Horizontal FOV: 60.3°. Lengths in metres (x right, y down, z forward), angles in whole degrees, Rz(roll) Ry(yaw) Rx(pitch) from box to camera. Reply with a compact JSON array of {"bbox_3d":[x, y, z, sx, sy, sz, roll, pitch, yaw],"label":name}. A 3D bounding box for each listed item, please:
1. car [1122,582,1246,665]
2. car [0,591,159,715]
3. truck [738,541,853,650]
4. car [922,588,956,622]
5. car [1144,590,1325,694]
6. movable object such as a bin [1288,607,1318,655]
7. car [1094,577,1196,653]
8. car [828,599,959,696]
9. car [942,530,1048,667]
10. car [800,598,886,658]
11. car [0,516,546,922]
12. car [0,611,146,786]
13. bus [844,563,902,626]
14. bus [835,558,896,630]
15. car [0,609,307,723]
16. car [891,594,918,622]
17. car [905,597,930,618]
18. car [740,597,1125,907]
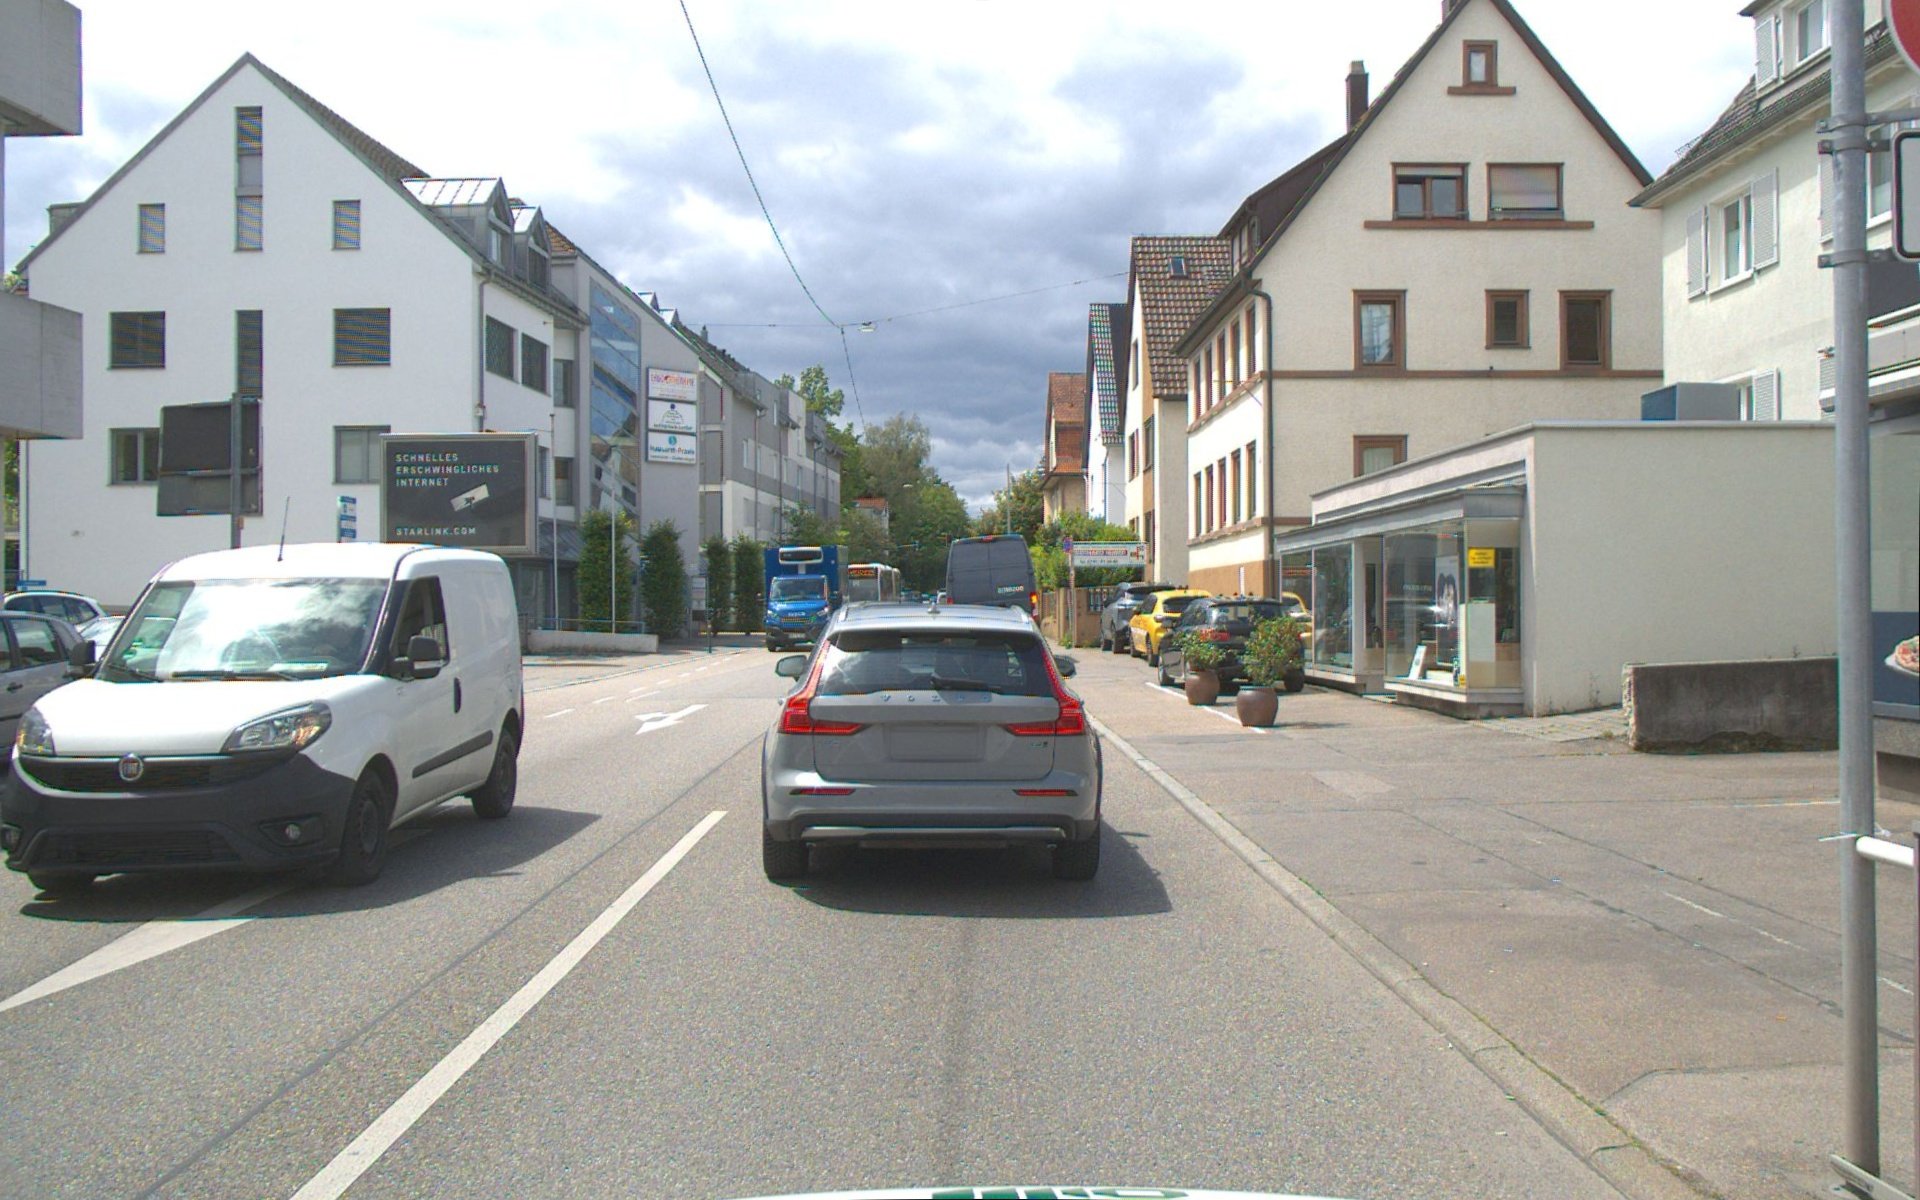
[{"bbox_3d":[4.641,0.446,34.811,1.839,1.472,4.306,-1,2,-2],"label":"car"},{"bbox_3d":[-13.816,0.766,23.601,1.910,1.647,4.933,-3,0,6],"label":"car"},{"bbox_3d":[-5.085,-0.132,52.562,2.795,3.147,8.088,-1,0,0],"label":"truck"},{"bbox_3d":[-1.286,0.290,101.450,1.952,2.049,4.001,0,0,1],"label":"car"},{"bbox_3d":[4.248,0.600,26.297,1.929,1.473,4.533,-1,0,-2],"label":"car"},{"bbox_3d":[6.791,0.614,32.753,0.490,0.941,0.598,-1,0,3],"label":"movable object such as a bin"},{"bbox_3d":[4.355,0.329,39.596,1.823,1.640,4.585,-2,0,-1],"label":"car"},{"bbox_3d":[-1.022,0.723,27.401,1.857,1.472,3.970,0,0,2],"label":"car"},{"bbox_3d":[0.745,-0.036,37.805,2.206,2.844,5.569,-1,0,0],"label":"car"},{"bbox_3d":[-3.007,0.690,43.193,1.857,1.472,3.969,0,0,1],"label":"car"},{"bbox_3d":[-3.933,0.548,9.792,1.906,1.852,4.277,-1,0,-1],"label":"car"},{"bbox_3d":[-8.990,0.850,14.356,1.686,1.447,4.149,0,0,2],"label":"car"},{"bbox_3d":[-4.610,-0.304,89.367,2.660,3.219,8.068,-1,0,0],"label":"bus"},{"bbox_3d":[-4.480,-0.284,80.232,2.628,3.219,10.181,-1,0,-2],"label":"bus"},{"bbox_3d":[-11.246,0.853,23.326,1.910,1.381,4.857,-1,0,3],"label":"car"},{"bbox_3d":[-4.416,0.613,131.460,2.062,2.158,4.764,1,0,-1],"label":"car"},{"bbox_3d":[-3.669,0.638,142.393,2.062,1.739,4.764,-1,0,-1],"label":"car"},{"bbox_3d":[-0.088,0.732,9.981,1.857,1.479,3.969,0,0,1],"label":"car"}]
